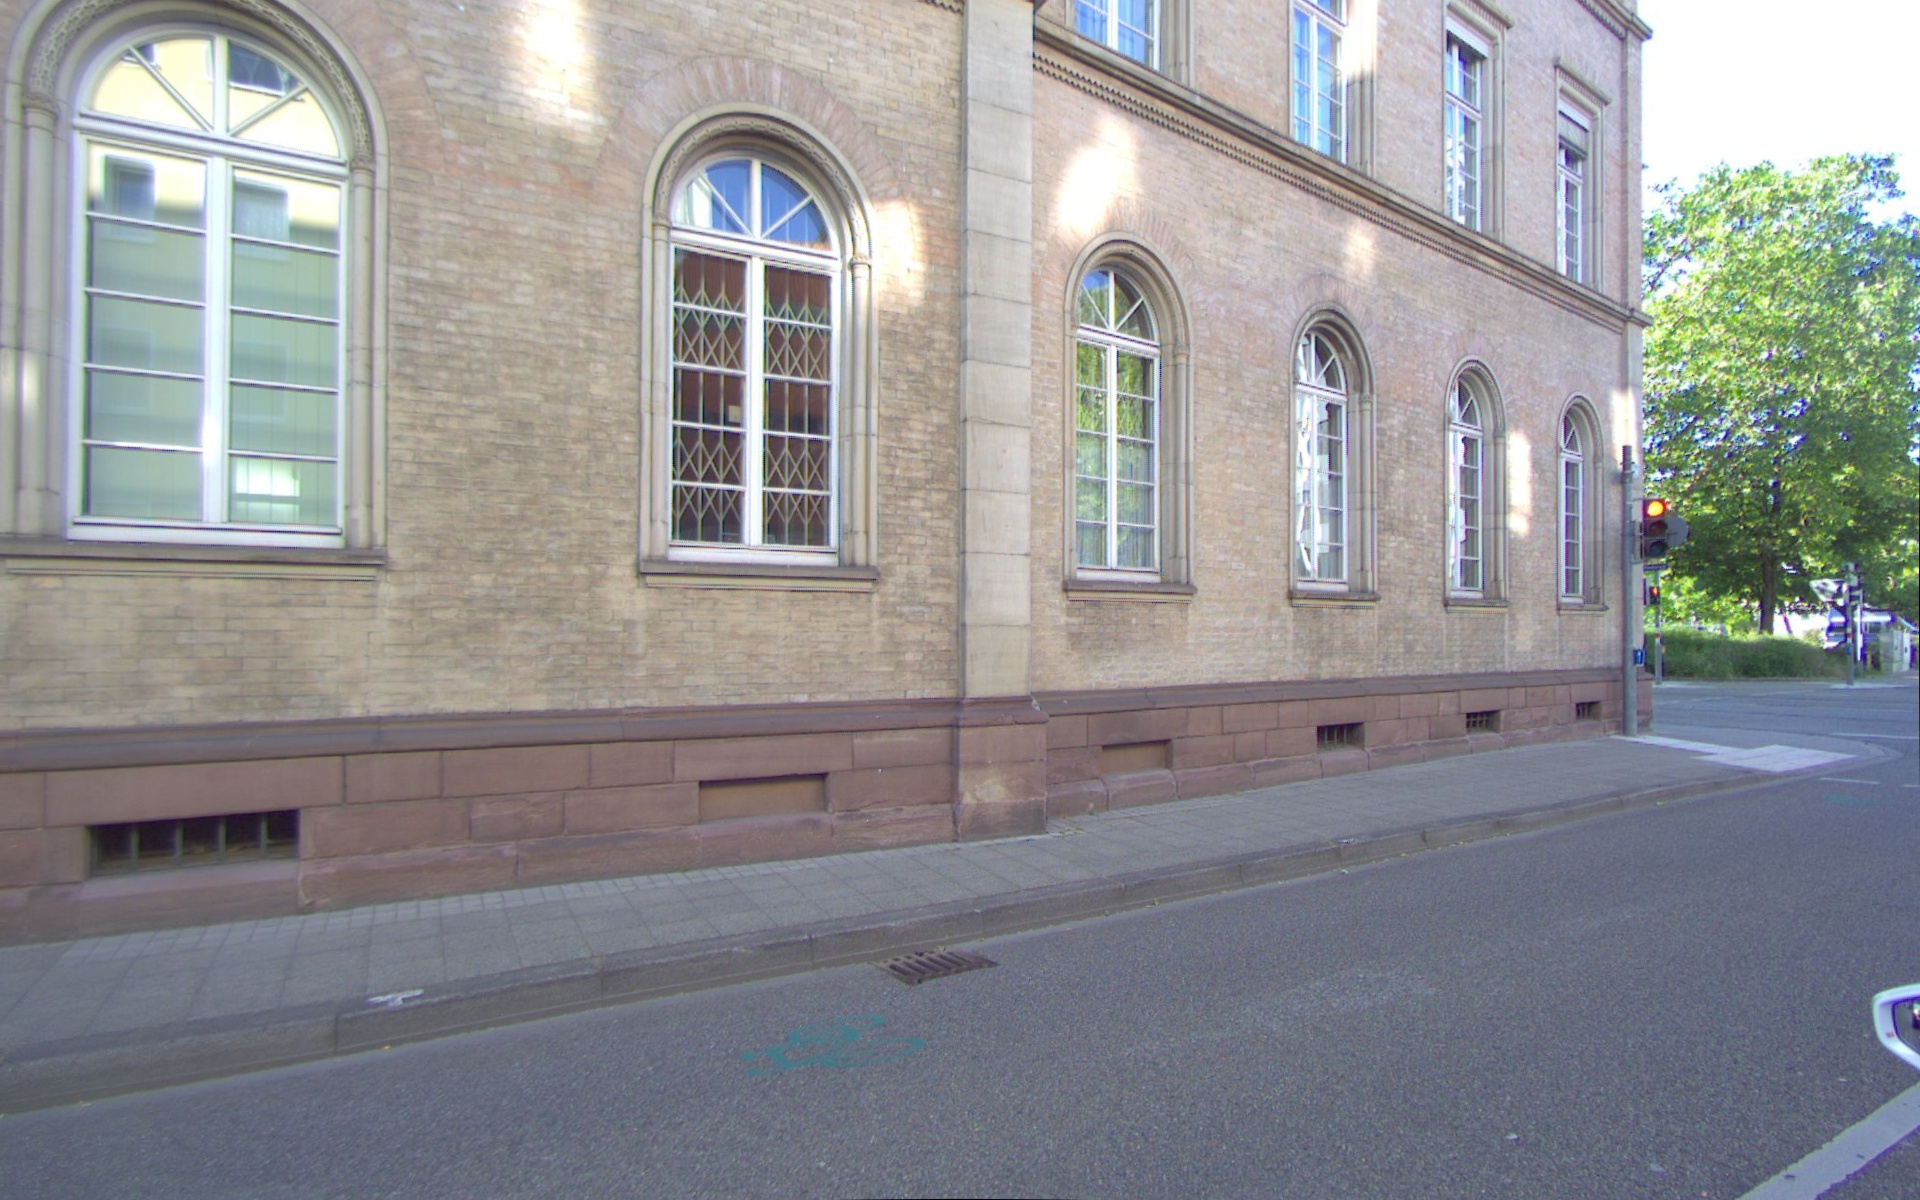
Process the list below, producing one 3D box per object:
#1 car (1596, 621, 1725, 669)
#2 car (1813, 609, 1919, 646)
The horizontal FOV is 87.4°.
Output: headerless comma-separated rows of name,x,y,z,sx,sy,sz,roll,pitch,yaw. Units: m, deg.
car,24.382,1.529,35.029,1.636,1.476,3.382,2,0,-39
car,53.503,1.612,59.391,1.983,2.040,4.409,2,0,-38
